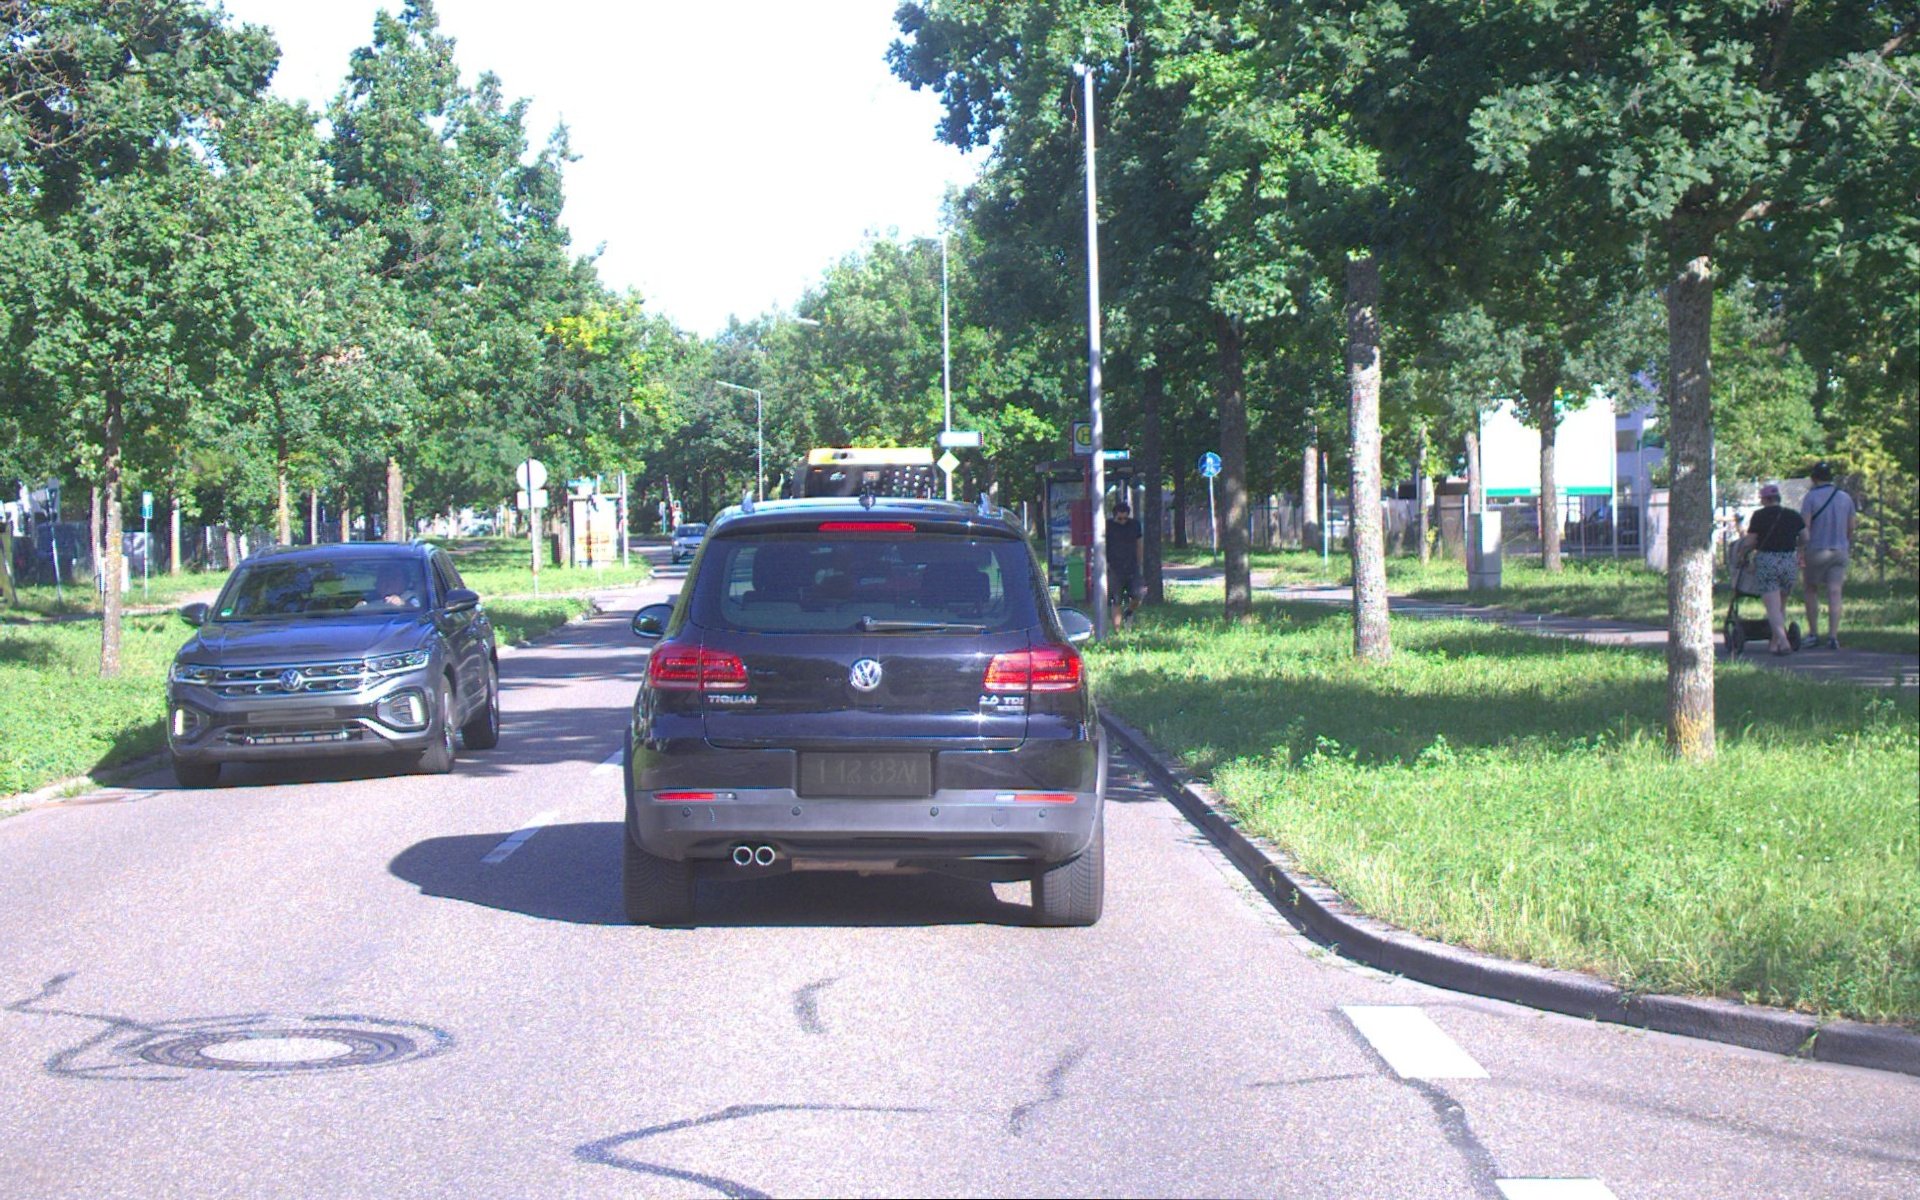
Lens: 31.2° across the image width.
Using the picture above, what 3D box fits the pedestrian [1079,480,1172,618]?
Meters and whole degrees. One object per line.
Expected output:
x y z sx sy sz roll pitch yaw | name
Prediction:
2.023 -0.634 42.115 1.019 1.646 1.100 -1 1 -2 | pedestrian

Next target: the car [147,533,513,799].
-4.215 0.367 23.670 1.804 1.531 4.496 -3 2 -2 | car

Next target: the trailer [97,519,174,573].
-30.489 -2.003 127.245 2.102 1.908 3.741 -1 2 -3 | trailer

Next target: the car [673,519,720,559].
-10.200 -2.373 133.202 1.744 1.460 4.428 -2 2 -4 | car

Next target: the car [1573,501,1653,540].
23.565 -2.877 124.165 1.764 1.379 3.769 -1 2 -7 | car

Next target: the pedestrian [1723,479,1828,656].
7.522 -0.305 31.738 0.725 1.597 0.868 -1 1 -2 | pedestrian

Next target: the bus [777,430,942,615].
-2.191 -1.628 70.669 2.764 3.444 11.213 -1 2 -5 | bus

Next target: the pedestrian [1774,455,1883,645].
8.292 -0.484 32.857 0.725 1.749 0.867 -3 1 -1 | pedestrian

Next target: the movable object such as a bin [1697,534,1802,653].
7.483 -0.068 32.614 0.725 1.077 0.868 -3 1 -2 | movable object such as a bin

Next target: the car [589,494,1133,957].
-0.413 0.383 14.522 1.936 1.650 4.428 0 2 -2 | car
